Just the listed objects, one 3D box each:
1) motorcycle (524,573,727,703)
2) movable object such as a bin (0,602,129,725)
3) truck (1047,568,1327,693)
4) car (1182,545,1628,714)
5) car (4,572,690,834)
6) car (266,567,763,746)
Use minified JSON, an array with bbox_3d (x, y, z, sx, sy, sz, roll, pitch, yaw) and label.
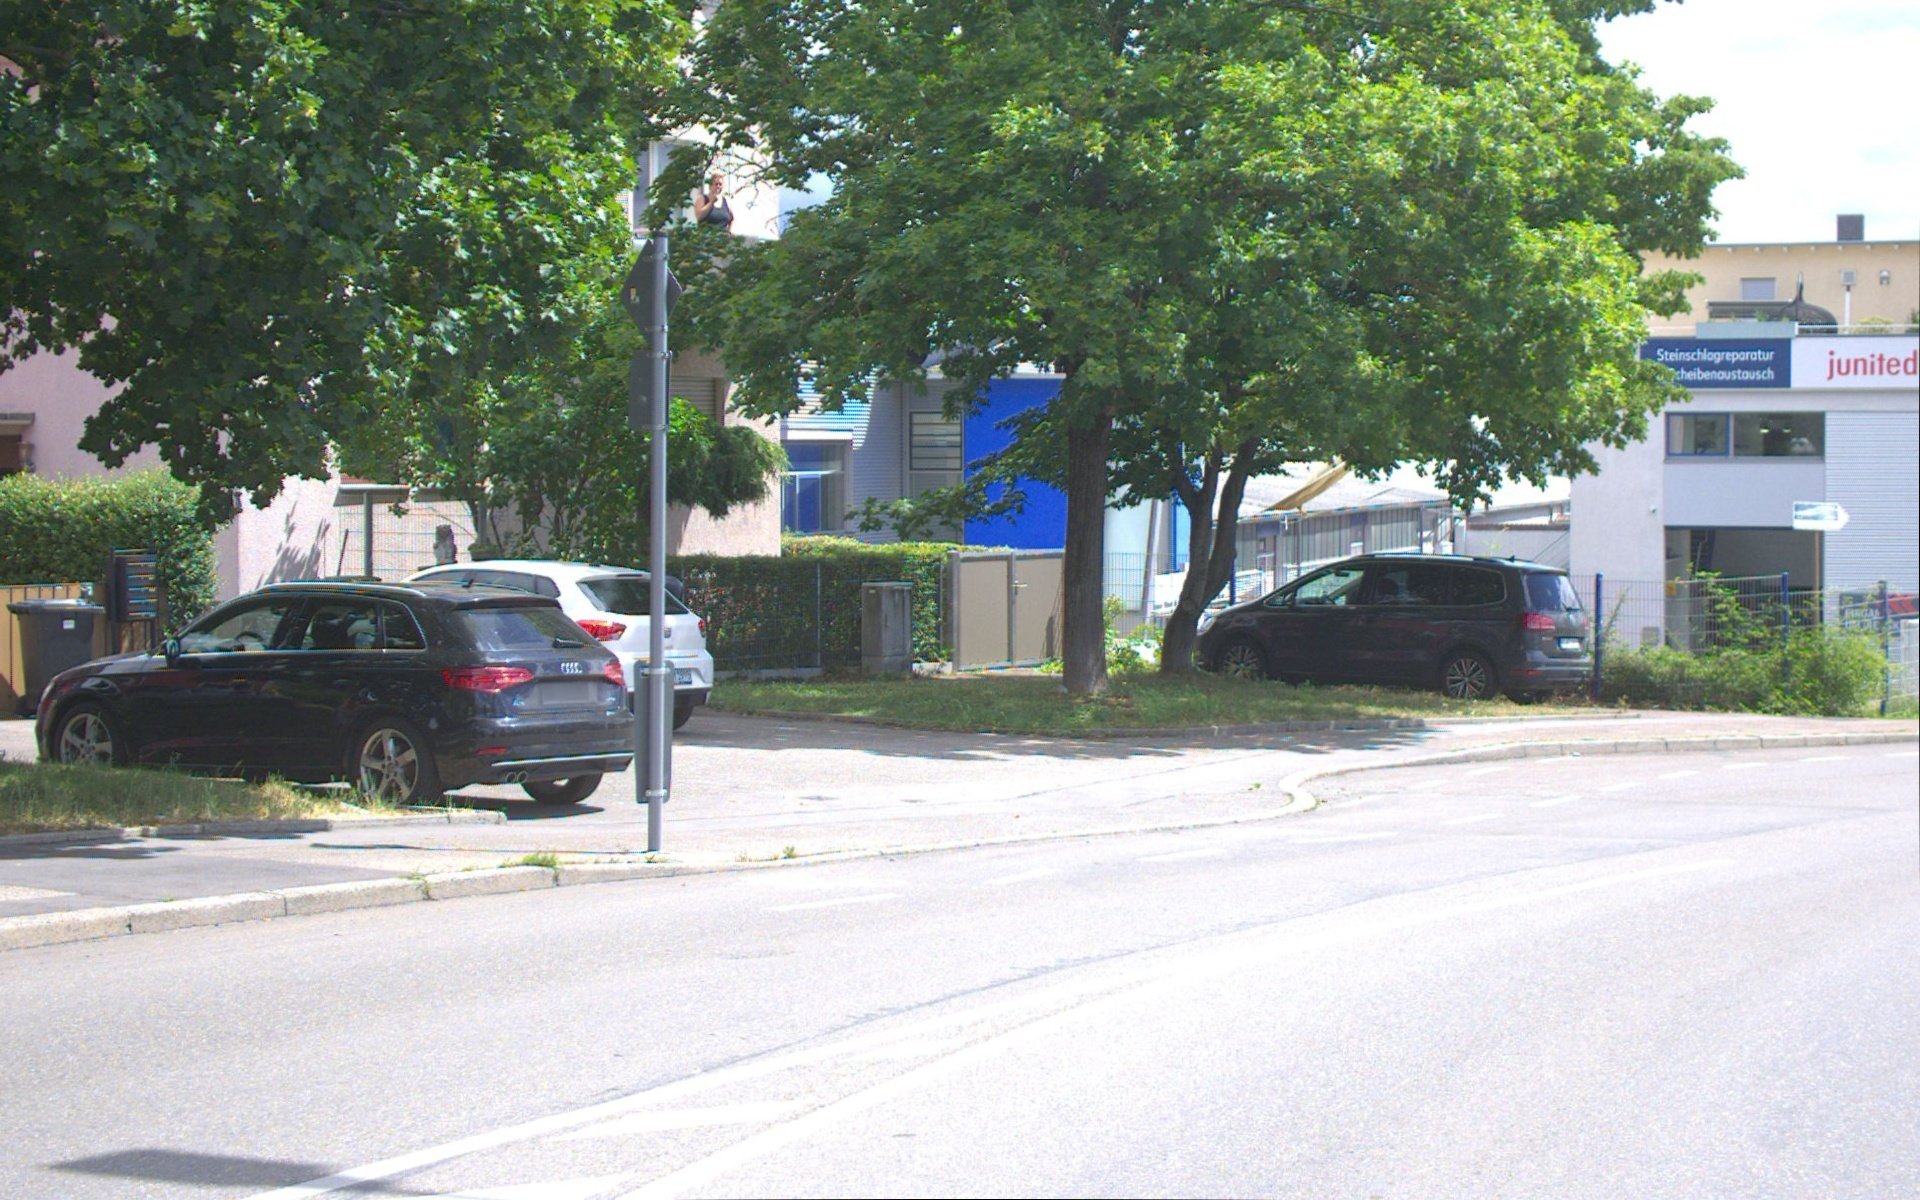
[{"bbox_3d":[-3.550,0.394,36.697,0.919,1.311,2.231,3,1,34],"label":"motorcycle"},{"bbox_3d":[-8.012,0.558,30.643,0.757,1.058,0.878,3,1,39],"label":"movable object such as a bin"},{"bbox_3d":[5.021,0.705,76.050,5.788,2.697,2.175,-1,-1,22],"label":"truck"},{"bbox_3d":[5.165,0.328,40.196,4.708,1.710,1.996,3,0,35],"label":"car"},{"bbox_3d":[-3.986,0.593,22.115,4.139,1.388,1.996,3,2,36],"label":"car"},{"bbox_3d":[-3.841,0.446,29.501,3.926,1.399,1.873,1,0,32],"label":"car"}]
